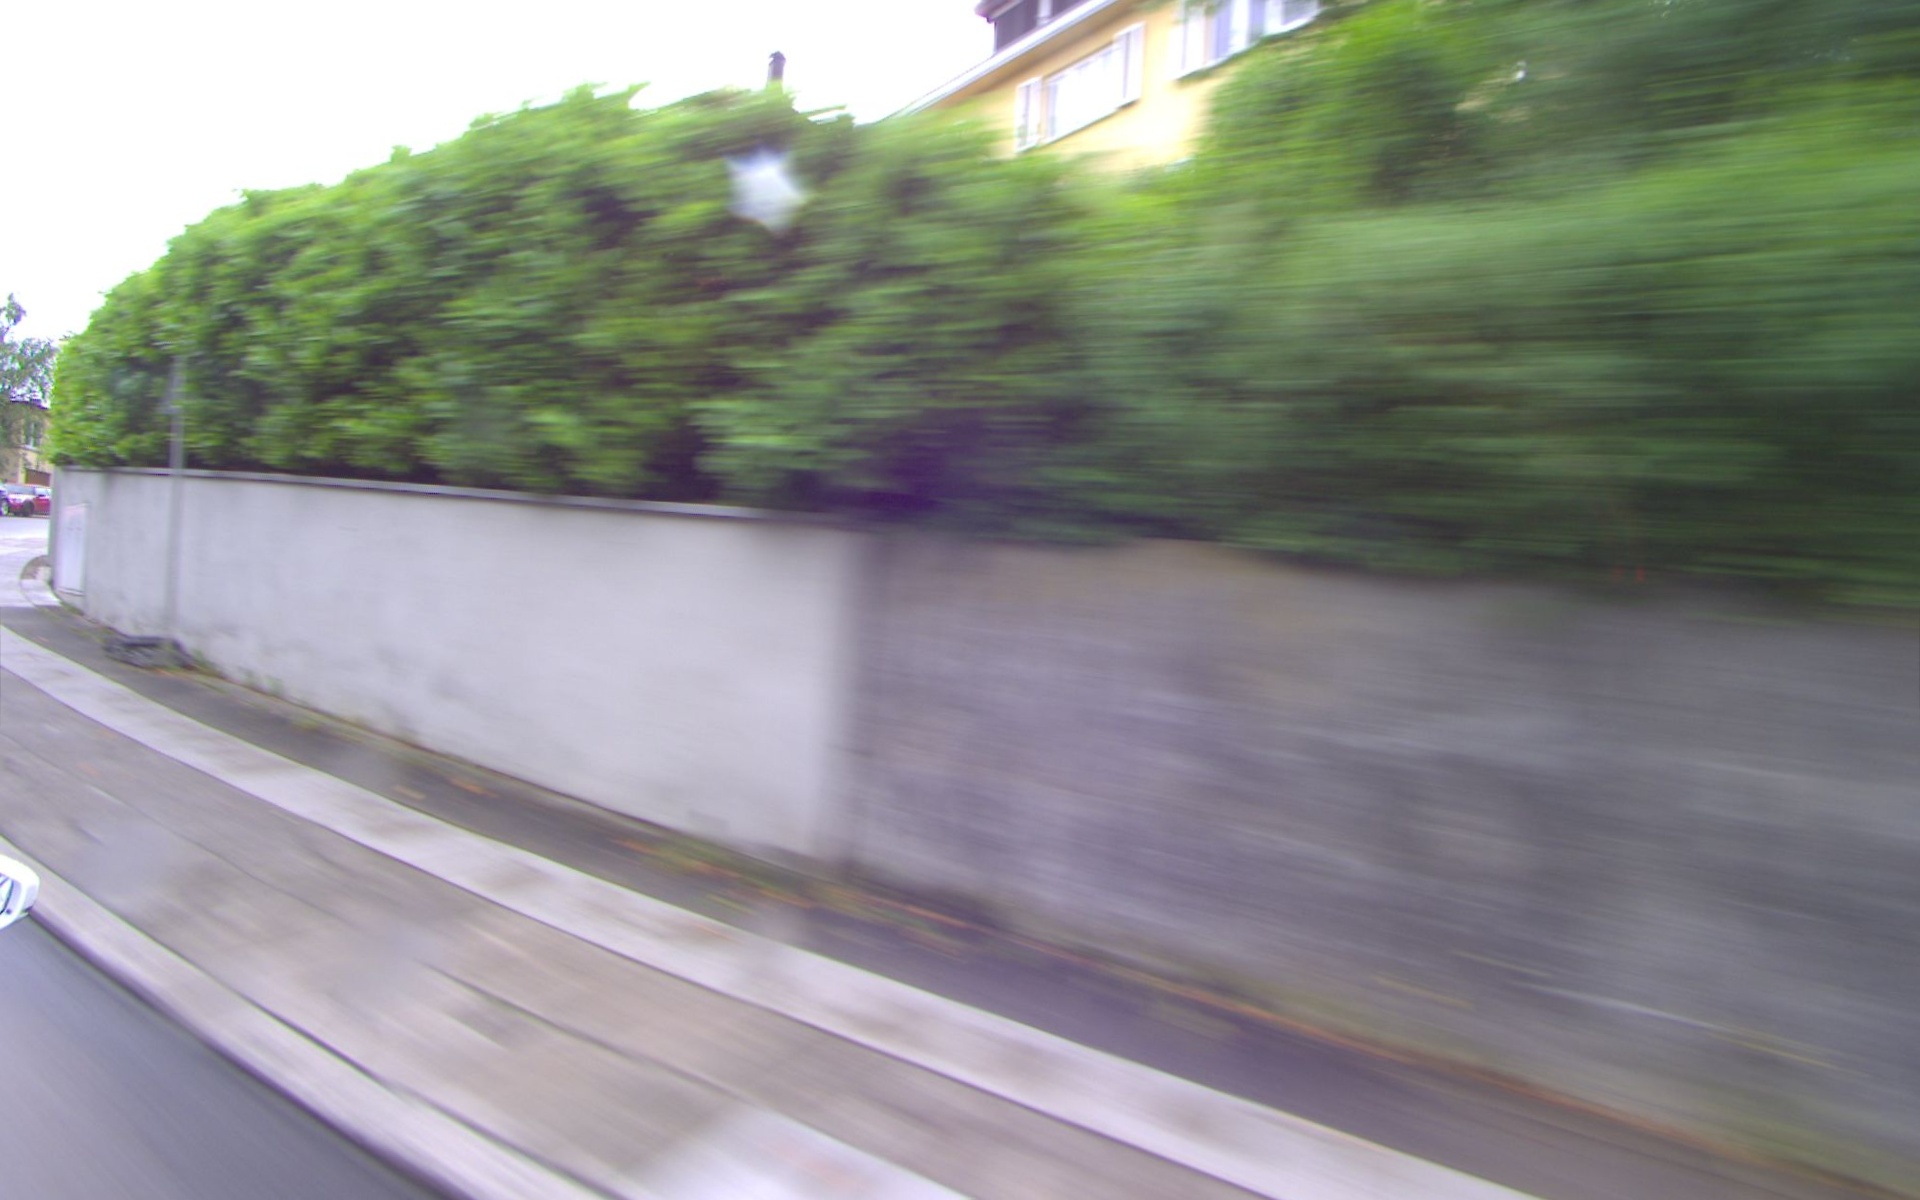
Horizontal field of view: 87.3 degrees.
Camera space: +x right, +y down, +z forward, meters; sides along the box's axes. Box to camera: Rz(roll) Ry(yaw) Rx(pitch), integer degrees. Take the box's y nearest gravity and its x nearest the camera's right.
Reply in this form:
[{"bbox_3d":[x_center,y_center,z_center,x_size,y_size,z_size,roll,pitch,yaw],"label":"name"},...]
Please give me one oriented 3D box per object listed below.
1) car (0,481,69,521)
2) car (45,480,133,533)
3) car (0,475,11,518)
[{"bbox_3d":[-40.616,-4.294,43.547,1.662,1.491,3.847,4,1,-19],"label":"car"},{"bbox_3d":[-35.126,-3.807,40.684,1.719,1.792,4.201,6,3,-28],"label":"car"},{"bbox_3d":[-38.738,-4.152,38.609,1.781,1.691,4.403,4,1,-21],"label":"car"}]
